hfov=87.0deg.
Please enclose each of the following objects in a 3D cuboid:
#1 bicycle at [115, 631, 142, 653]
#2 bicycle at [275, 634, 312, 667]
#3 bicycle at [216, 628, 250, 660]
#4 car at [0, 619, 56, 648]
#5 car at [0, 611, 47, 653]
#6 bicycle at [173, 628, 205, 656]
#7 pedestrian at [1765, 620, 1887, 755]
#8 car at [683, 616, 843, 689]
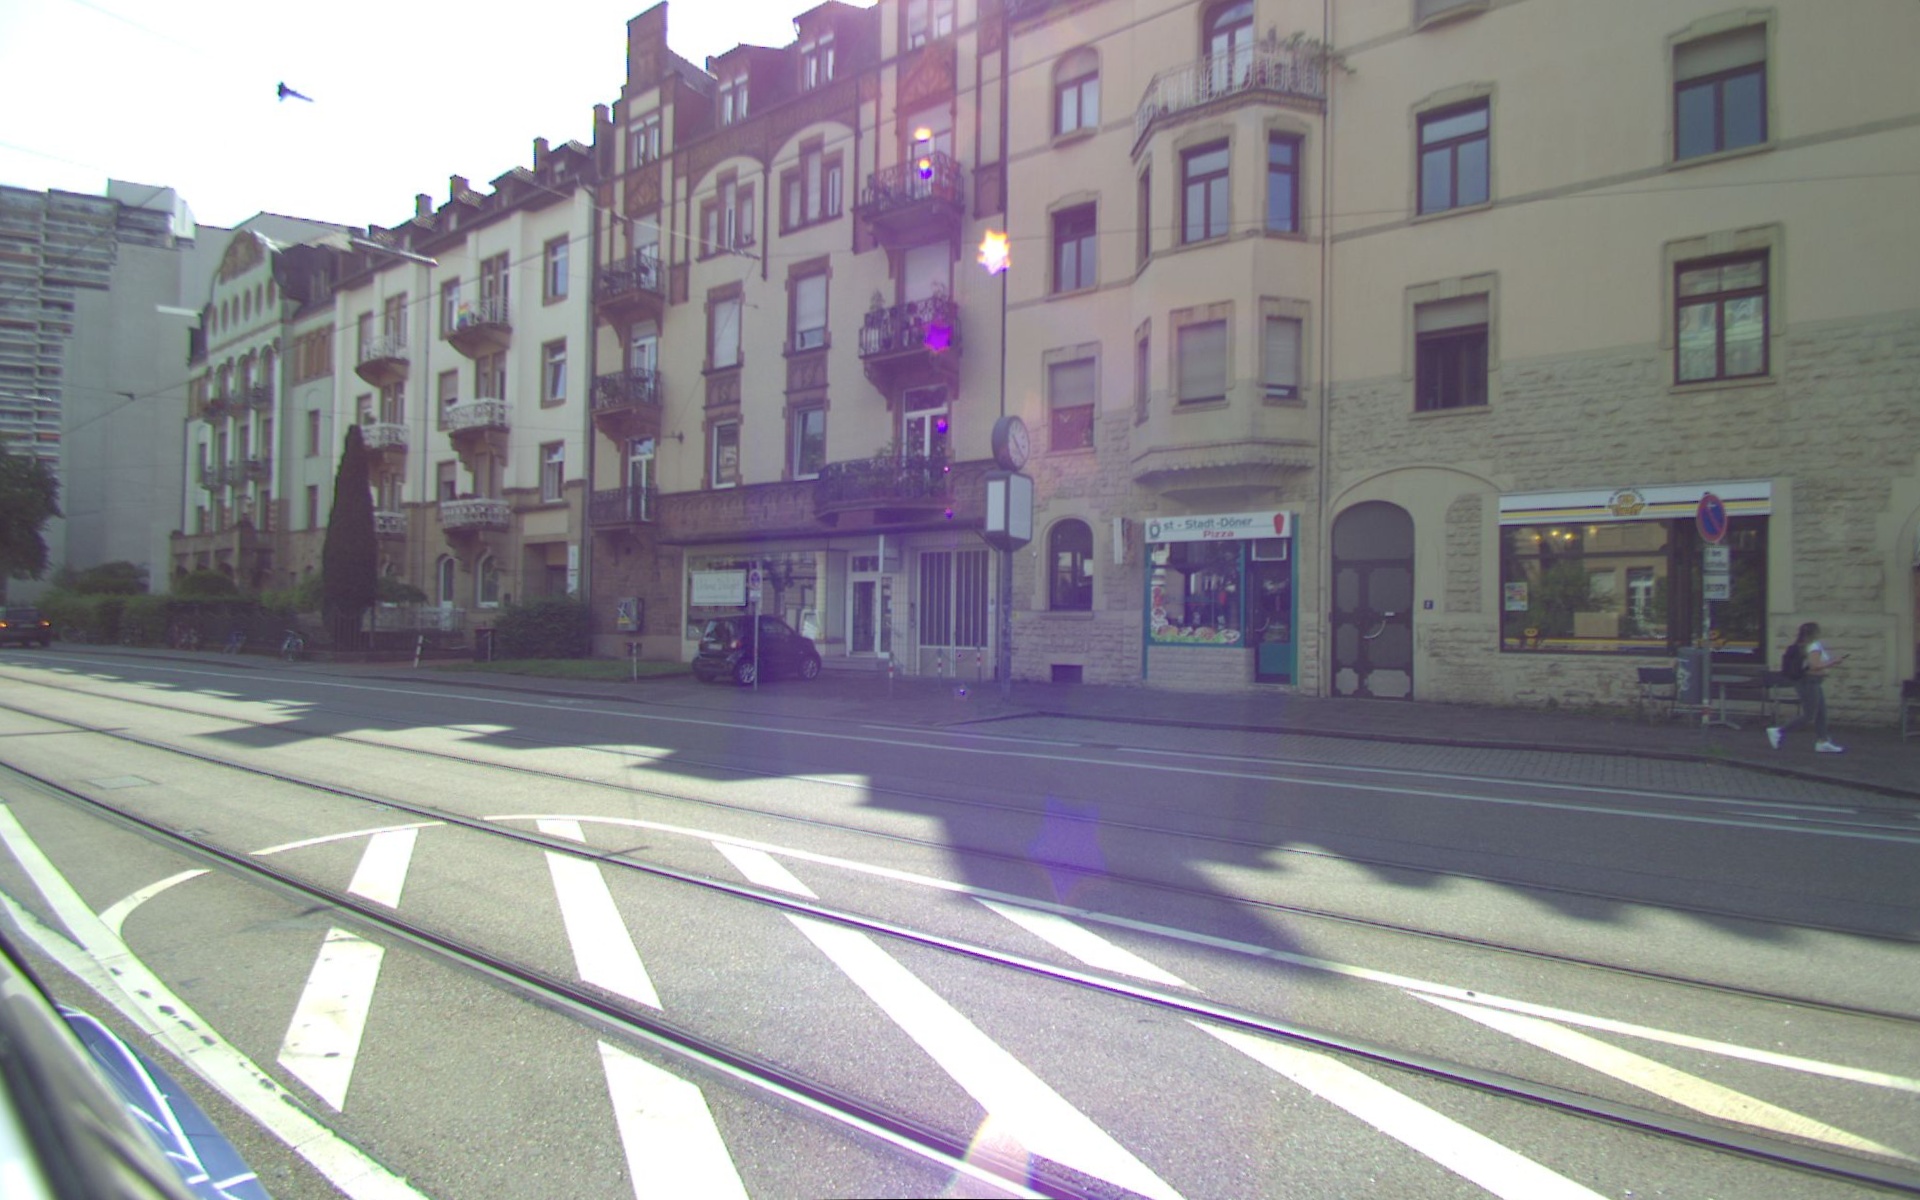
[{"bbox_3d":[-33.952,1.707,41.316,1.872,0.803,0.579,0,1,41],"label":"bicycle"},{"bbox_3d":[-20.954,1.564,31.790,2.068,0.913,0.517,2,0,44],"label":"bicycle"},{"bbox_3d":[-25.311,1.509,35.234,1.872,1.037,0.533,0,-1,41],"label":"bicycle"},{"bbox_3d":[-51.942,1.809,55.111,1.632,1.547,3.842,-1,-2,38],"label":"car"},{"bbox_3d":[-40.860,1.356,43.331,4.323,1.724,1.775,-1,-2,36],"label":"car"},{"bbox_3d":[-28.863,1.564,37.867,1.872,0.993,0.579,0,-1,41],"label":"bicycle"},{"bbox_3d":[10.594,1.043,12.412,0.957,1.553,0.690,-1,2,24],"label":"pedestrian"},{"bbox_3d":[-4.537,1.168,23.689,1.704,1.497,3.411,-1,0,38],"label":"car"}]
